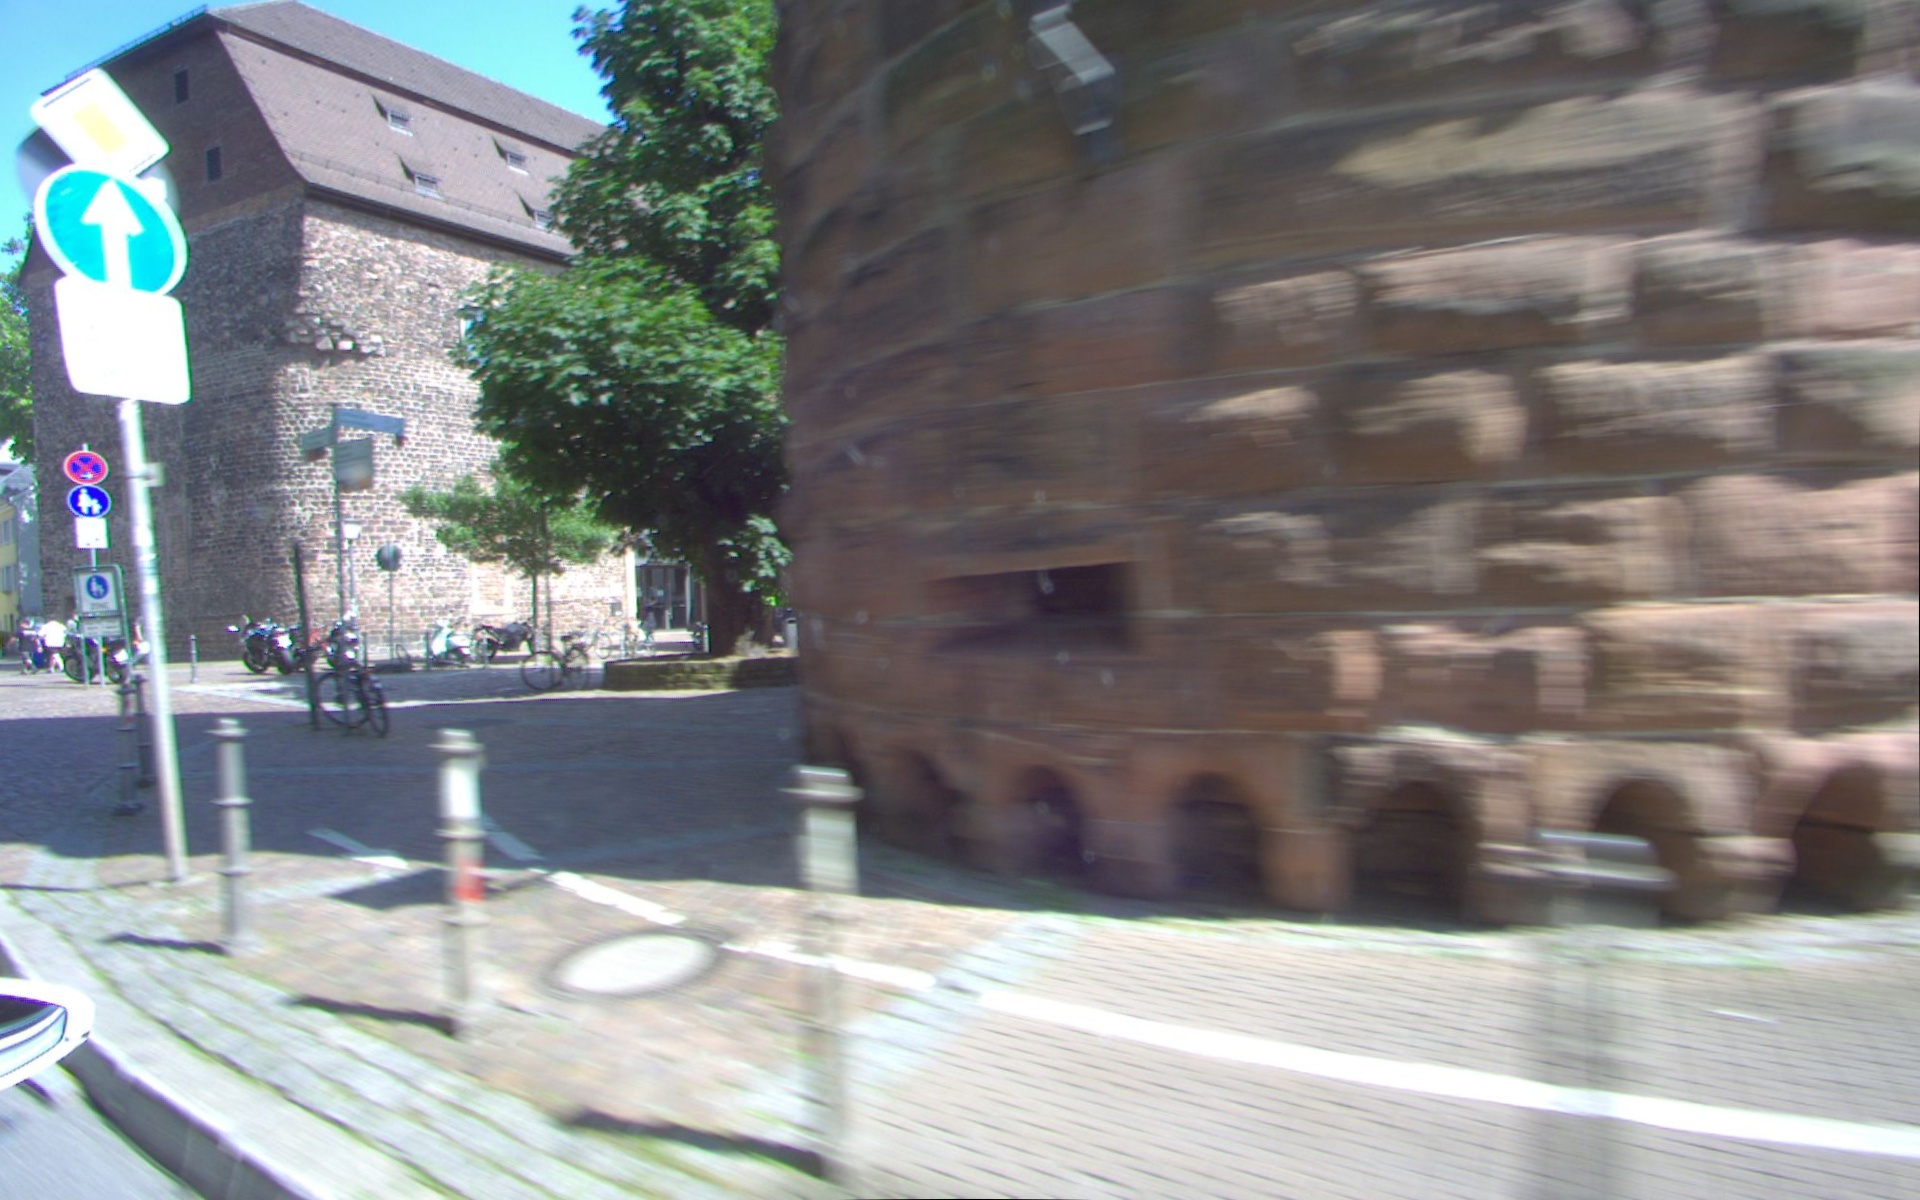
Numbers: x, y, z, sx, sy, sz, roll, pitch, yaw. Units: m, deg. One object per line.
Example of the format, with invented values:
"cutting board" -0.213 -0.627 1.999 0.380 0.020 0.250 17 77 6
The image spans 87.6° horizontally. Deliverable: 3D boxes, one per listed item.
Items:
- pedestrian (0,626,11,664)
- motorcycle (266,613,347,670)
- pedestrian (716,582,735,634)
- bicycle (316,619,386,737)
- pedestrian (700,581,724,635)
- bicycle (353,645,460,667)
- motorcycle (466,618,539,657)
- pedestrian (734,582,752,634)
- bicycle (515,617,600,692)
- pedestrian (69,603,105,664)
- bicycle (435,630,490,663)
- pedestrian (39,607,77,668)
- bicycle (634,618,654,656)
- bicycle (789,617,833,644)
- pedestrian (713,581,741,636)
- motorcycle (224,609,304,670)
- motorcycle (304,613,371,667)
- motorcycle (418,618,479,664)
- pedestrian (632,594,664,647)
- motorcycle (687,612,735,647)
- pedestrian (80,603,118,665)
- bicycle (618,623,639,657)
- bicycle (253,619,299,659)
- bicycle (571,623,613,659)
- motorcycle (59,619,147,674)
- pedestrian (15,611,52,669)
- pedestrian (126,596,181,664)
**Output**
"pedestrian" -52.053 2.444 54.098 0.796 2.039 0.938 -2 -1 33
"motorcycle" -15.015 0.960 22.986 2.280 1.251 0.674 -2 -2 33
"pedestrian" -9.305 0.327 39.690 0.556 2.039 0.648 -1 -1 -29
"bicycle" -6.766 0.827 11.094 1.750 1.220 0.192 -1 0 44
"pedestrian" -9.595 0.316 38.778 0.787 2.039 0.734 -1 -1 -9
"bicycle" -12.262 1.244 22.196 1.915 0.386 0.909 -1 -2 -44
"motorcycle" -12.860 1.049 28.197 0.474 1.067 1.857 -2 -2 40
"pedestrian" -8.603 0.319 39.748 0.499 2.039 0.442 -2 -1 21
"bicycle" -6.666 0.881 16.540 1.707 1.178 0.445 -1 1 36
"pedestrian" -28.325 1.098 32.478 0.809 1.944 0.667 -2 -1 31
"bicycle" -13.037 1.201 26.220 1.898 0.831 0.353 -1 -1 32
"pedestrian" -28.416 1.189 31.545 0.809 1.908 0.667 -2 -1 31
"bicycle" -9.353 1.094 29.604 0.355 1.099 1.376 -1 -1 -26
"bicycle" -5.090 1.047 34.193 1.566 0.890 0.419 -2 -2 32
"pedestrian" -8.842 0.327 38.064 0.759 2.039 0.692 -2 -1 20
"motorcycle" -15.464 0.883 22.226 2.169 1.282 0.654 -2 -1 32
"motorcycle" -14.921 0.968 23.985 2.002 1.251 0.545 -2 -2 33
"motorcycle" -12.678 1.020 24.808 1.814 1.086 0.506 -2 -2 32
"pedestrian" -10.205 0.666 32.702 0.799 1.684 0.652 -2 1 -33
"motorcycle" -7.818 0.939 31.446 1.588 1.047 0.387 -2 -1 26
"pedestrian" -28.719 1.138 33.408 0.865 2.039 0.729 -2 -1 32
"bicycle" -9.477 1.146 28.608 0.355 0.961 1.376 -1 -2 -26
"bicycle" -21.488 1.223 31.457 1.691 1.225 0.388 -2 -1 24
"bicycle" -10.391 1.153 28.259 1.362 0.978 0.359 -2 -2 32
"motorcycle" -16.830 0.906 19.643 2.454 1.026 0.565 -2 1 32
"pedestrian" -29.555 1.265 31.932 0.835 1.826 0.650 -1 0 31
"pedestrian" -23.827 0.873 29.589 0.898 1.975 0.829 -2 1 -5
